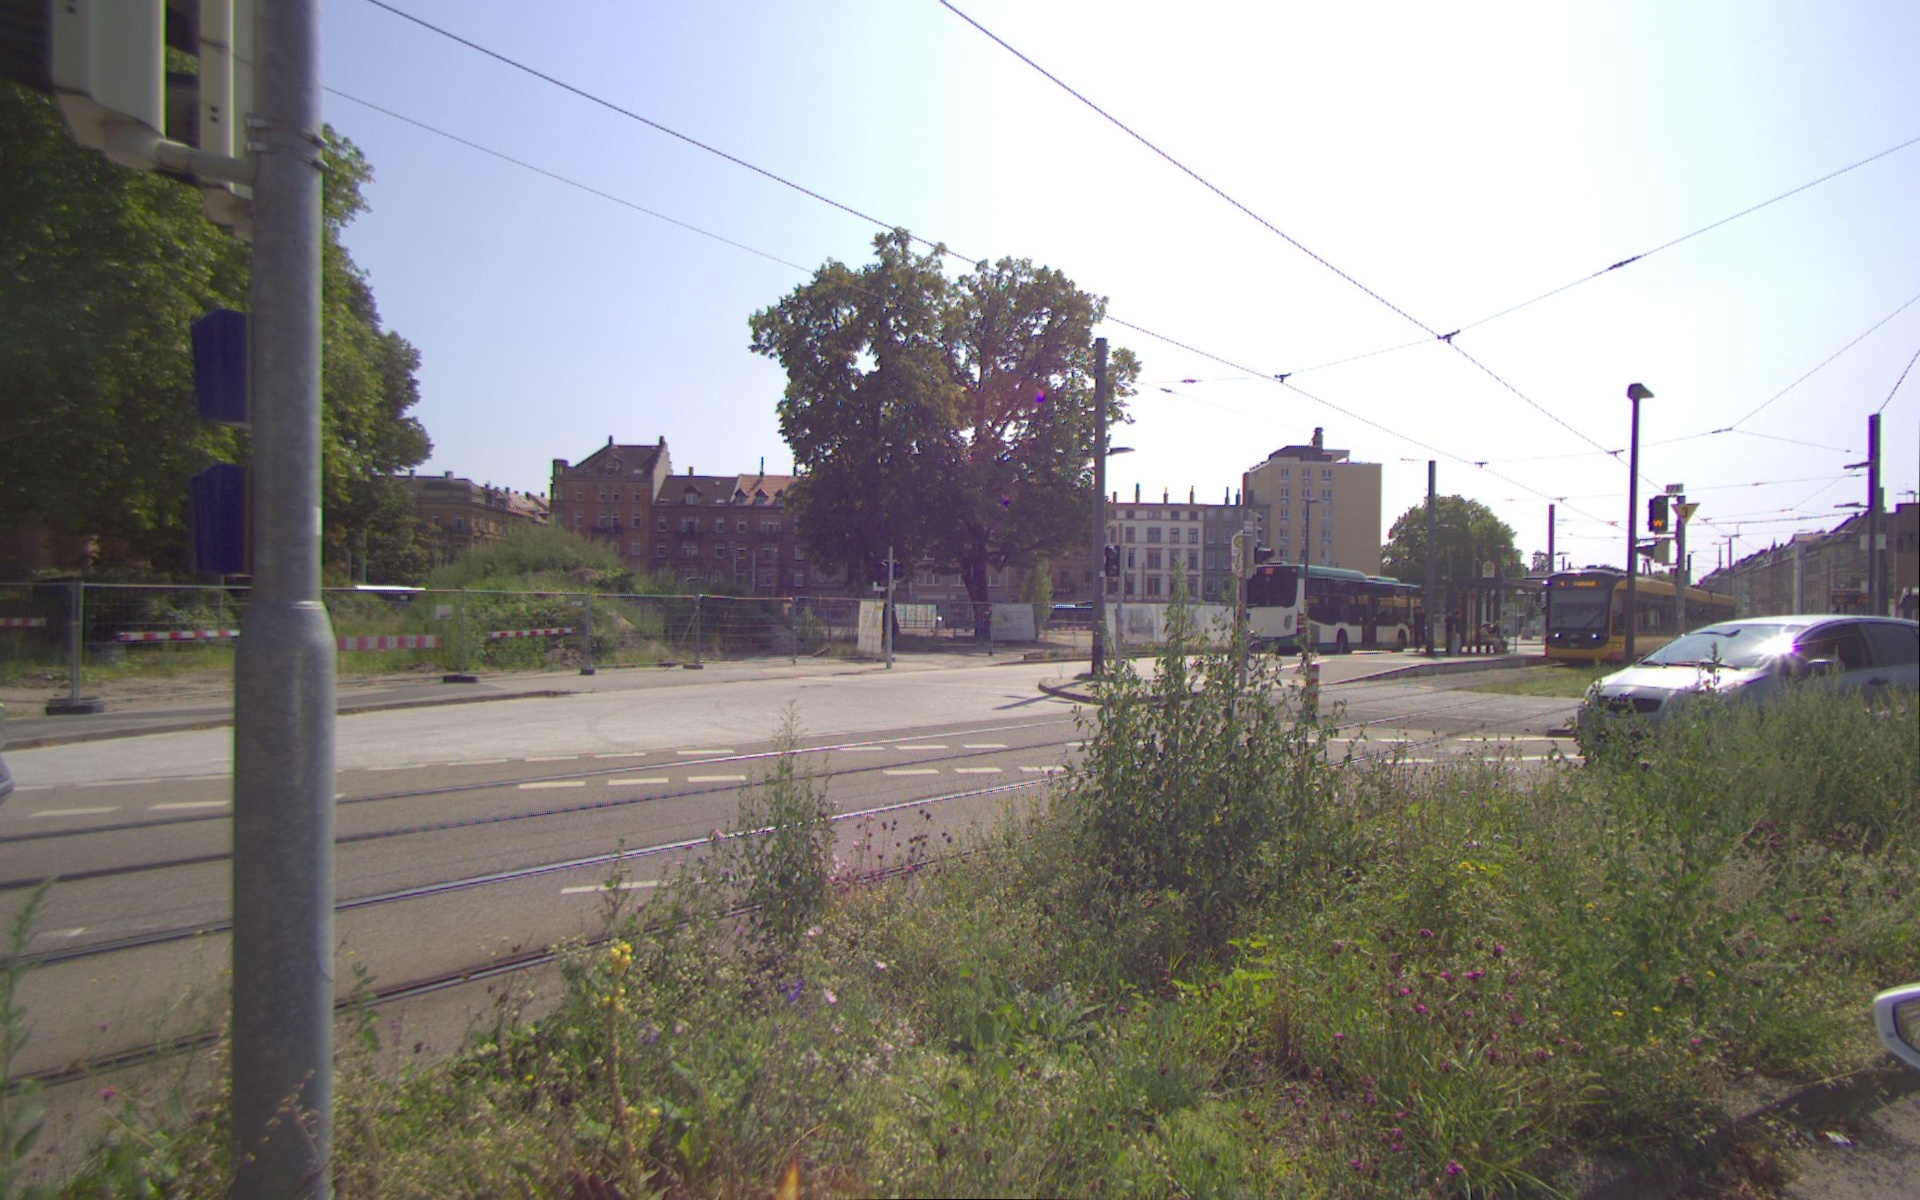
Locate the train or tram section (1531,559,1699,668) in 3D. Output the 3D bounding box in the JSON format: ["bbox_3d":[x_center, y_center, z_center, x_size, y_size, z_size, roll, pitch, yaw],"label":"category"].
[{"bbox_3d":[26.937,0.638,40.586,2.825,3.595,17.643,1,-1,43],"label":"train or tram section"}]

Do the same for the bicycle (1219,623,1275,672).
[{"bbox_3d":[7.463,1.217,26.085,1.693,1.239,0.601,1,-1,-43],"label":"bicycle"}]

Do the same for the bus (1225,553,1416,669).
[{"bbox_3d":[13.919,0.473,38.028,2.925,3.825,10.538,1,-1,42],"label":"bus"}]

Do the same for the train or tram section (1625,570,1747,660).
[{"bbox_3d":[39.418,0.898,54.037,2.855,4.122,19.029,1,-1,43],"label":"train or tram section"}]

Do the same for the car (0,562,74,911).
[{"bbox_3d":[-6.655,0.605,3.837,4.621,1.632,1.762,1,-1,-32],"label":"car"}]

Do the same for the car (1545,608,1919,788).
[{"bbox_3d":[8.217,0.887,9.892,4.249,1.550,1.652,1,-1,-12],"label":"car"}]
